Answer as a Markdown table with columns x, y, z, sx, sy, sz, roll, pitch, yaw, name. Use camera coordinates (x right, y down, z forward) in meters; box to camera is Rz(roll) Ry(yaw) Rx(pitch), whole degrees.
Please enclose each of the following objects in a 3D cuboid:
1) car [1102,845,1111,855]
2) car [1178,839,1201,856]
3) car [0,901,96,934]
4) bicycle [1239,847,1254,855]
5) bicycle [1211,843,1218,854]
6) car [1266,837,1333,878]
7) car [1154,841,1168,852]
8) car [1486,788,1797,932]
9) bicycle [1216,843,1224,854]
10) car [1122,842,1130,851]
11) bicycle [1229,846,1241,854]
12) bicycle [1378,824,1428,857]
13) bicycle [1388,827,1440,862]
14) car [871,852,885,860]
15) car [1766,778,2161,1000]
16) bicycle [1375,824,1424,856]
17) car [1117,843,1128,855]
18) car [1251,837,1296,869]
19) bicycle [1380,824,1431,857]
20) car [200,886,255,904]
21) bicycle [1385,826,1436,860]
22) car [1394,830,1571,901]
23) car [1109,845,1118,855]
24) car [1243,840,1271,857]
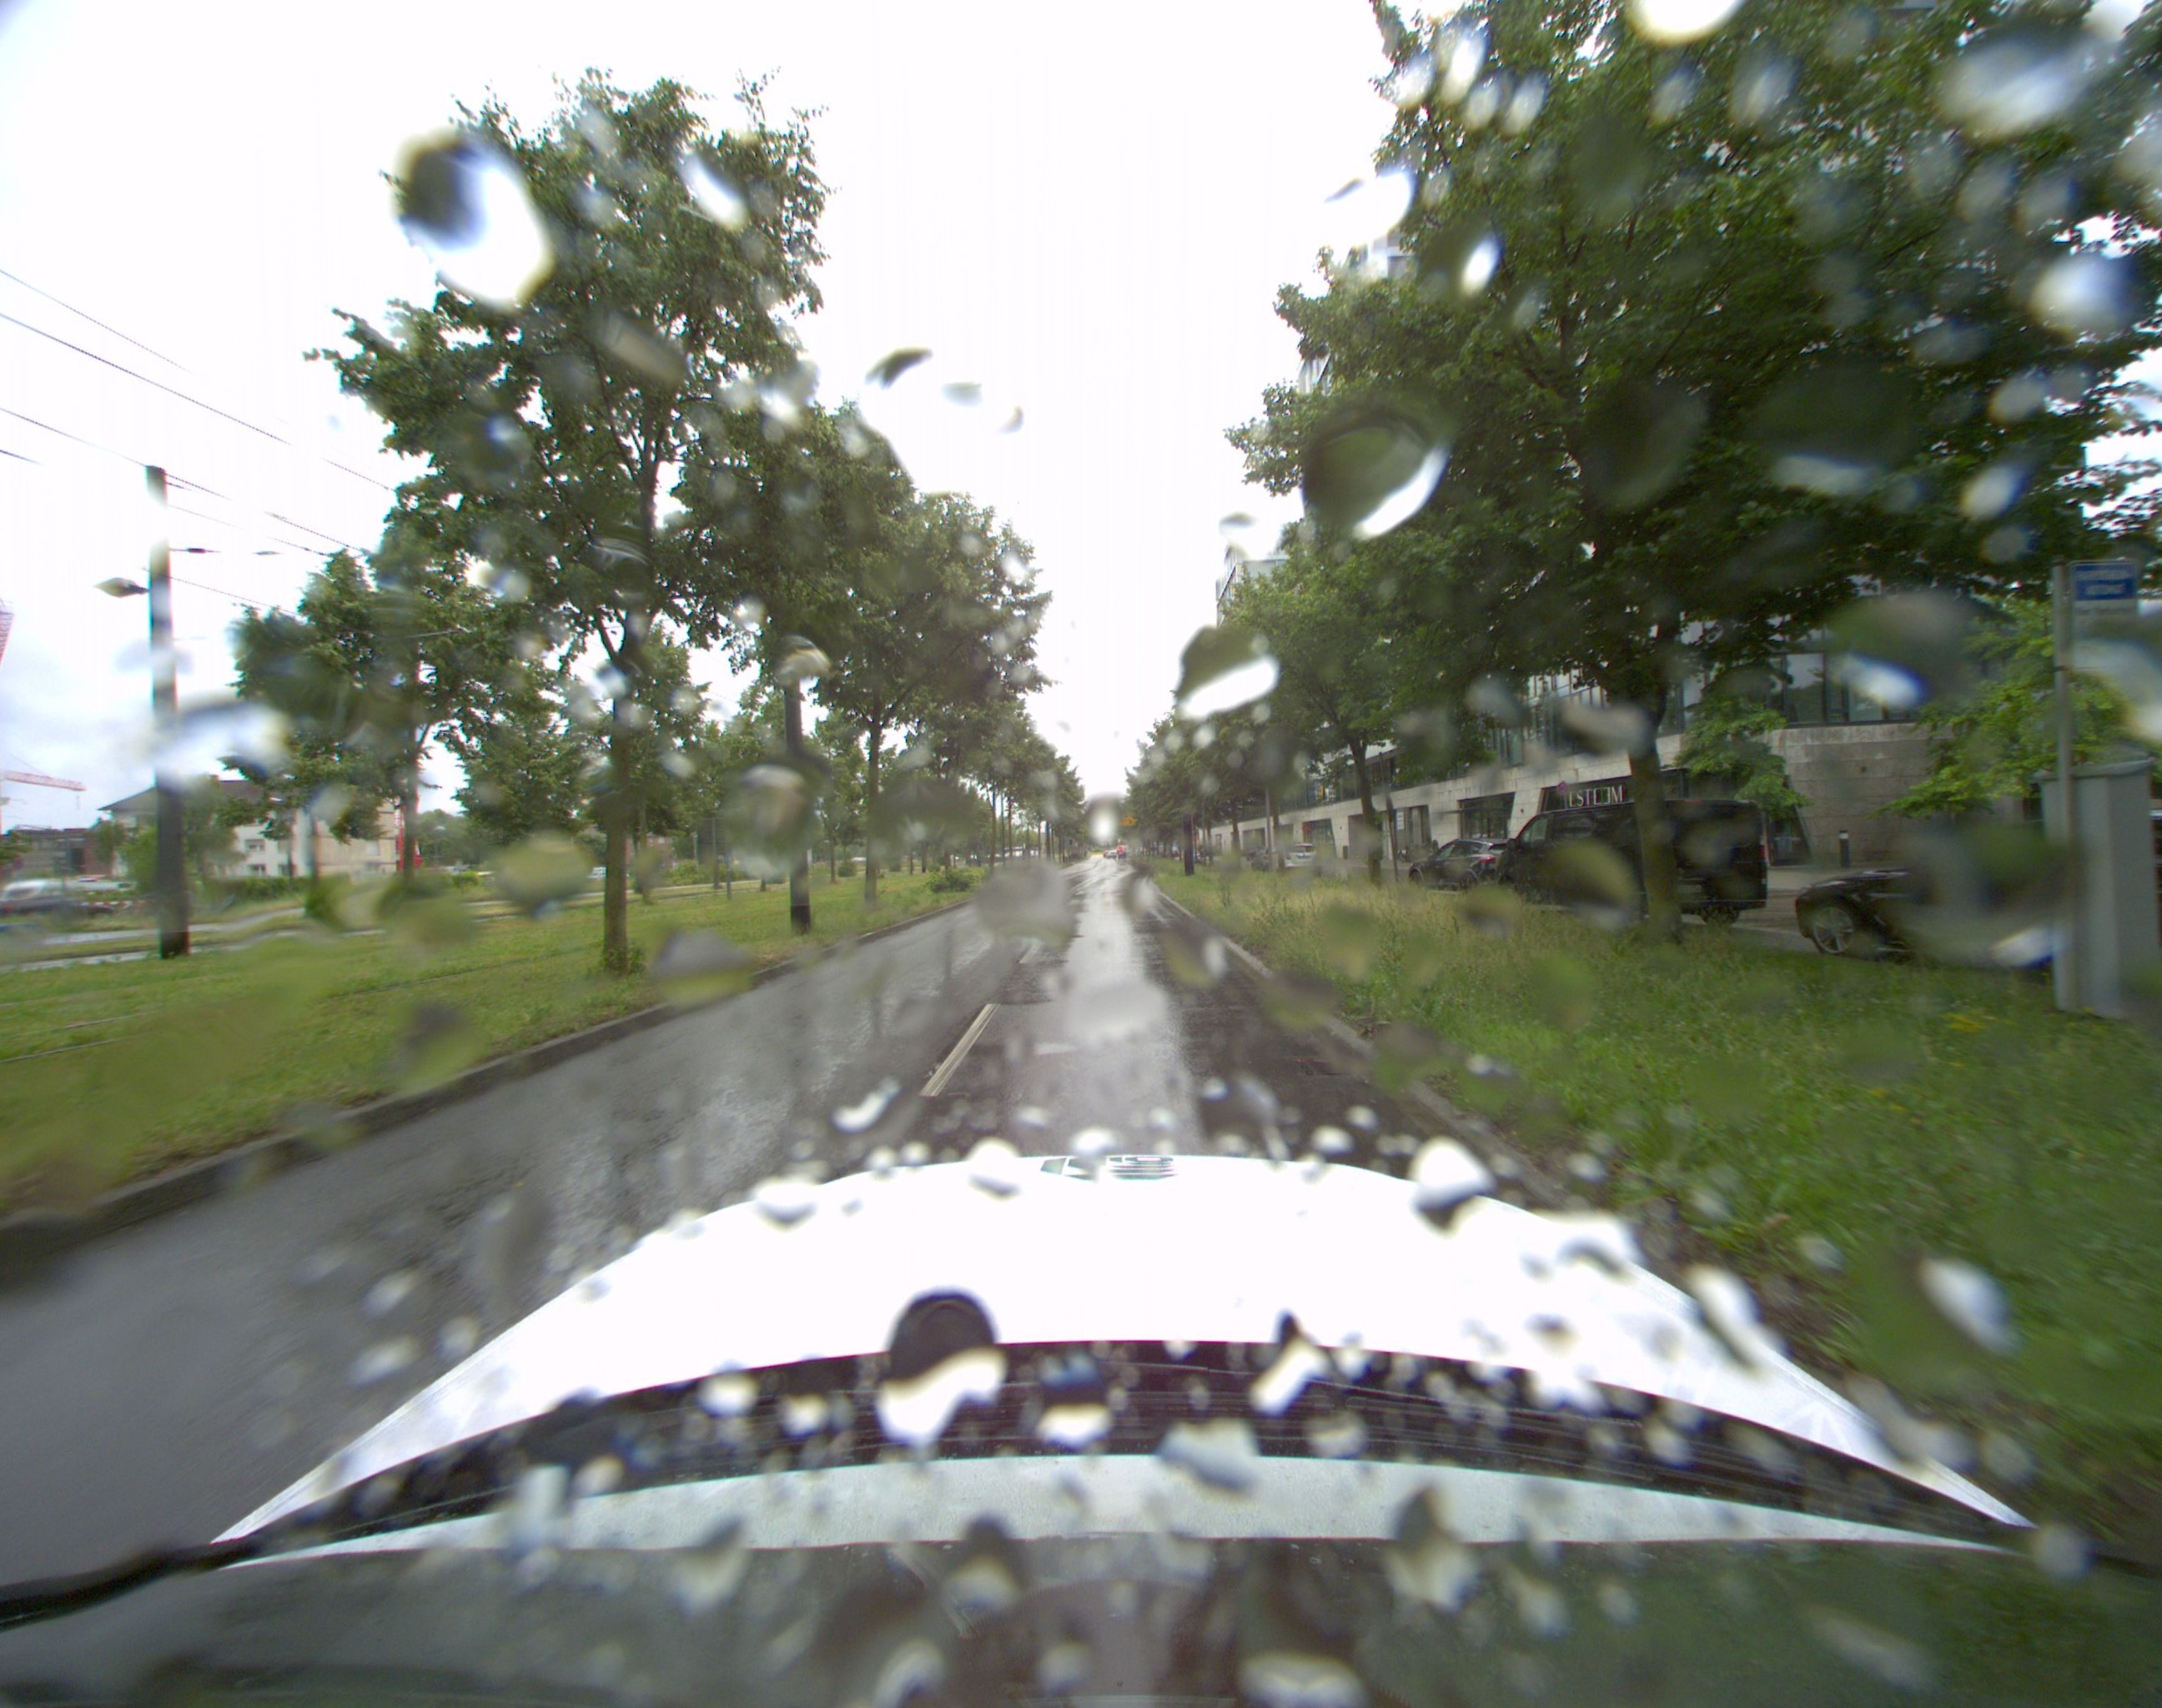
| x | y | z | sx | sy | sz | roll | pitch | yaw | name |
| --- | --- | --- | --- | --- | --- | --- | --- | --- | --- |
| 6.358 | -0.984 | 200.954 | 1.985 | 2.013 | 4.006 | -2 | 2 | 4 | car |
| 11.211 | -0.737 | 84.449 | 1.874 | 1.505 | 4.727 | -2 | 2 | 2 | car |
| -58.002 | 3.494 | 45.172 | 1.681 | 1.349 | 3.911 | -2 | 2 | 7 | car |
| 22.108 | -0.383 | 108.879 | 1.798 | 1.028 | 0.402 | -2 | 0 | 4 | bicycle |
| 21.977 | -0.962 | 134.118 | 0.642 | 1.722 | 3.122 | -2 | 2 | 1 | bicycle |
| 10.239 | 0.109 | 38.506 | 1.986 | 1.668 | 4.727 | -2 | 2 | 2 | car |
| 13.024 | -1.221 | 133.429 | 1.899 | 1.791 | 4.690 | -2 | 0 | 2 | car |
| 9.134 | -0.021 | 13.955 | 1.986 | 1.952 | 5.033 | -2 | 2 | 2 | car |
| 22.739 | -0.960 | 133.348 | 0.769 | 1.722 | 3.122 | -2 | 2 | 1 | bicycle |
| 11.780 | -2.019 | 213.895 | 1.985 | 2.013 | 4.004 | -2 | 2 | 3 | car |
| 21.841 | -0.562 | 115.617 | 1.686 | 1.028 | 0.423 | -2 | 0 | 4 | bicycle |
| 19.437 | -0.841 | 49.209 | 2.666 | 1.860 | 0.708 | -2 | 0 | 6 | bicycle |
| 19.159 | -0.555 | 46.885 | 2.666 | 1.860 | 0.708 | -2 | 0 | 6 | bicycle |
| -54.508 | 0.503 | 218.688 | 3.546 | 1.738 | 1.694 | -3 | 3 | -22 | car |
| 9.124 | 0.196 | 7.249 | 1.986 | 1.669 | 4.961 | -2 | 1 | 2 | car |
| 19.529 | -0.854 | 49.953 | 2.666 | 1.860 | 0.708 | -2 | 0 | 6 | bicycle |
| 7.729 | -0.885 | 151.842 | 1.933 | 2.013 | 4.003 | -2 | 2 | 2 | car |
| 10.199 | -0.080 | 43.441 | 1.619 | 1.490 | 3.658 | -2 | 2 | 2 | car |
| 19.270 | -0.805 | 48.430 | 2.666 | 1.860 | 0.708 | -2 | 0 | 6 | bicycle |
| -68.064 | 3.248 | 64.986 | 1.223 | 1.108 | 2.815 | -2 | 2 | 7 | car |
| 19.261 | -0.660 | 47.646 | 2.666 | 1.860 | 0.708 | -2 | 0 | 6 | bicycle |
| 9.851 | 0.253 | 20.448 | 1.953 | 1.513 | 4.475 | -2 | 0 | -4 | car |
| 7.082 | -0.956 | 179.844 | 1.881 | 2.013 | 4.003 | -2 | 2 | 2 | car |
| 18.392 | -0.575 | 85.430 | 1.985 | 1.501 | 5.040 | -7 | 1 | 4 | car |
